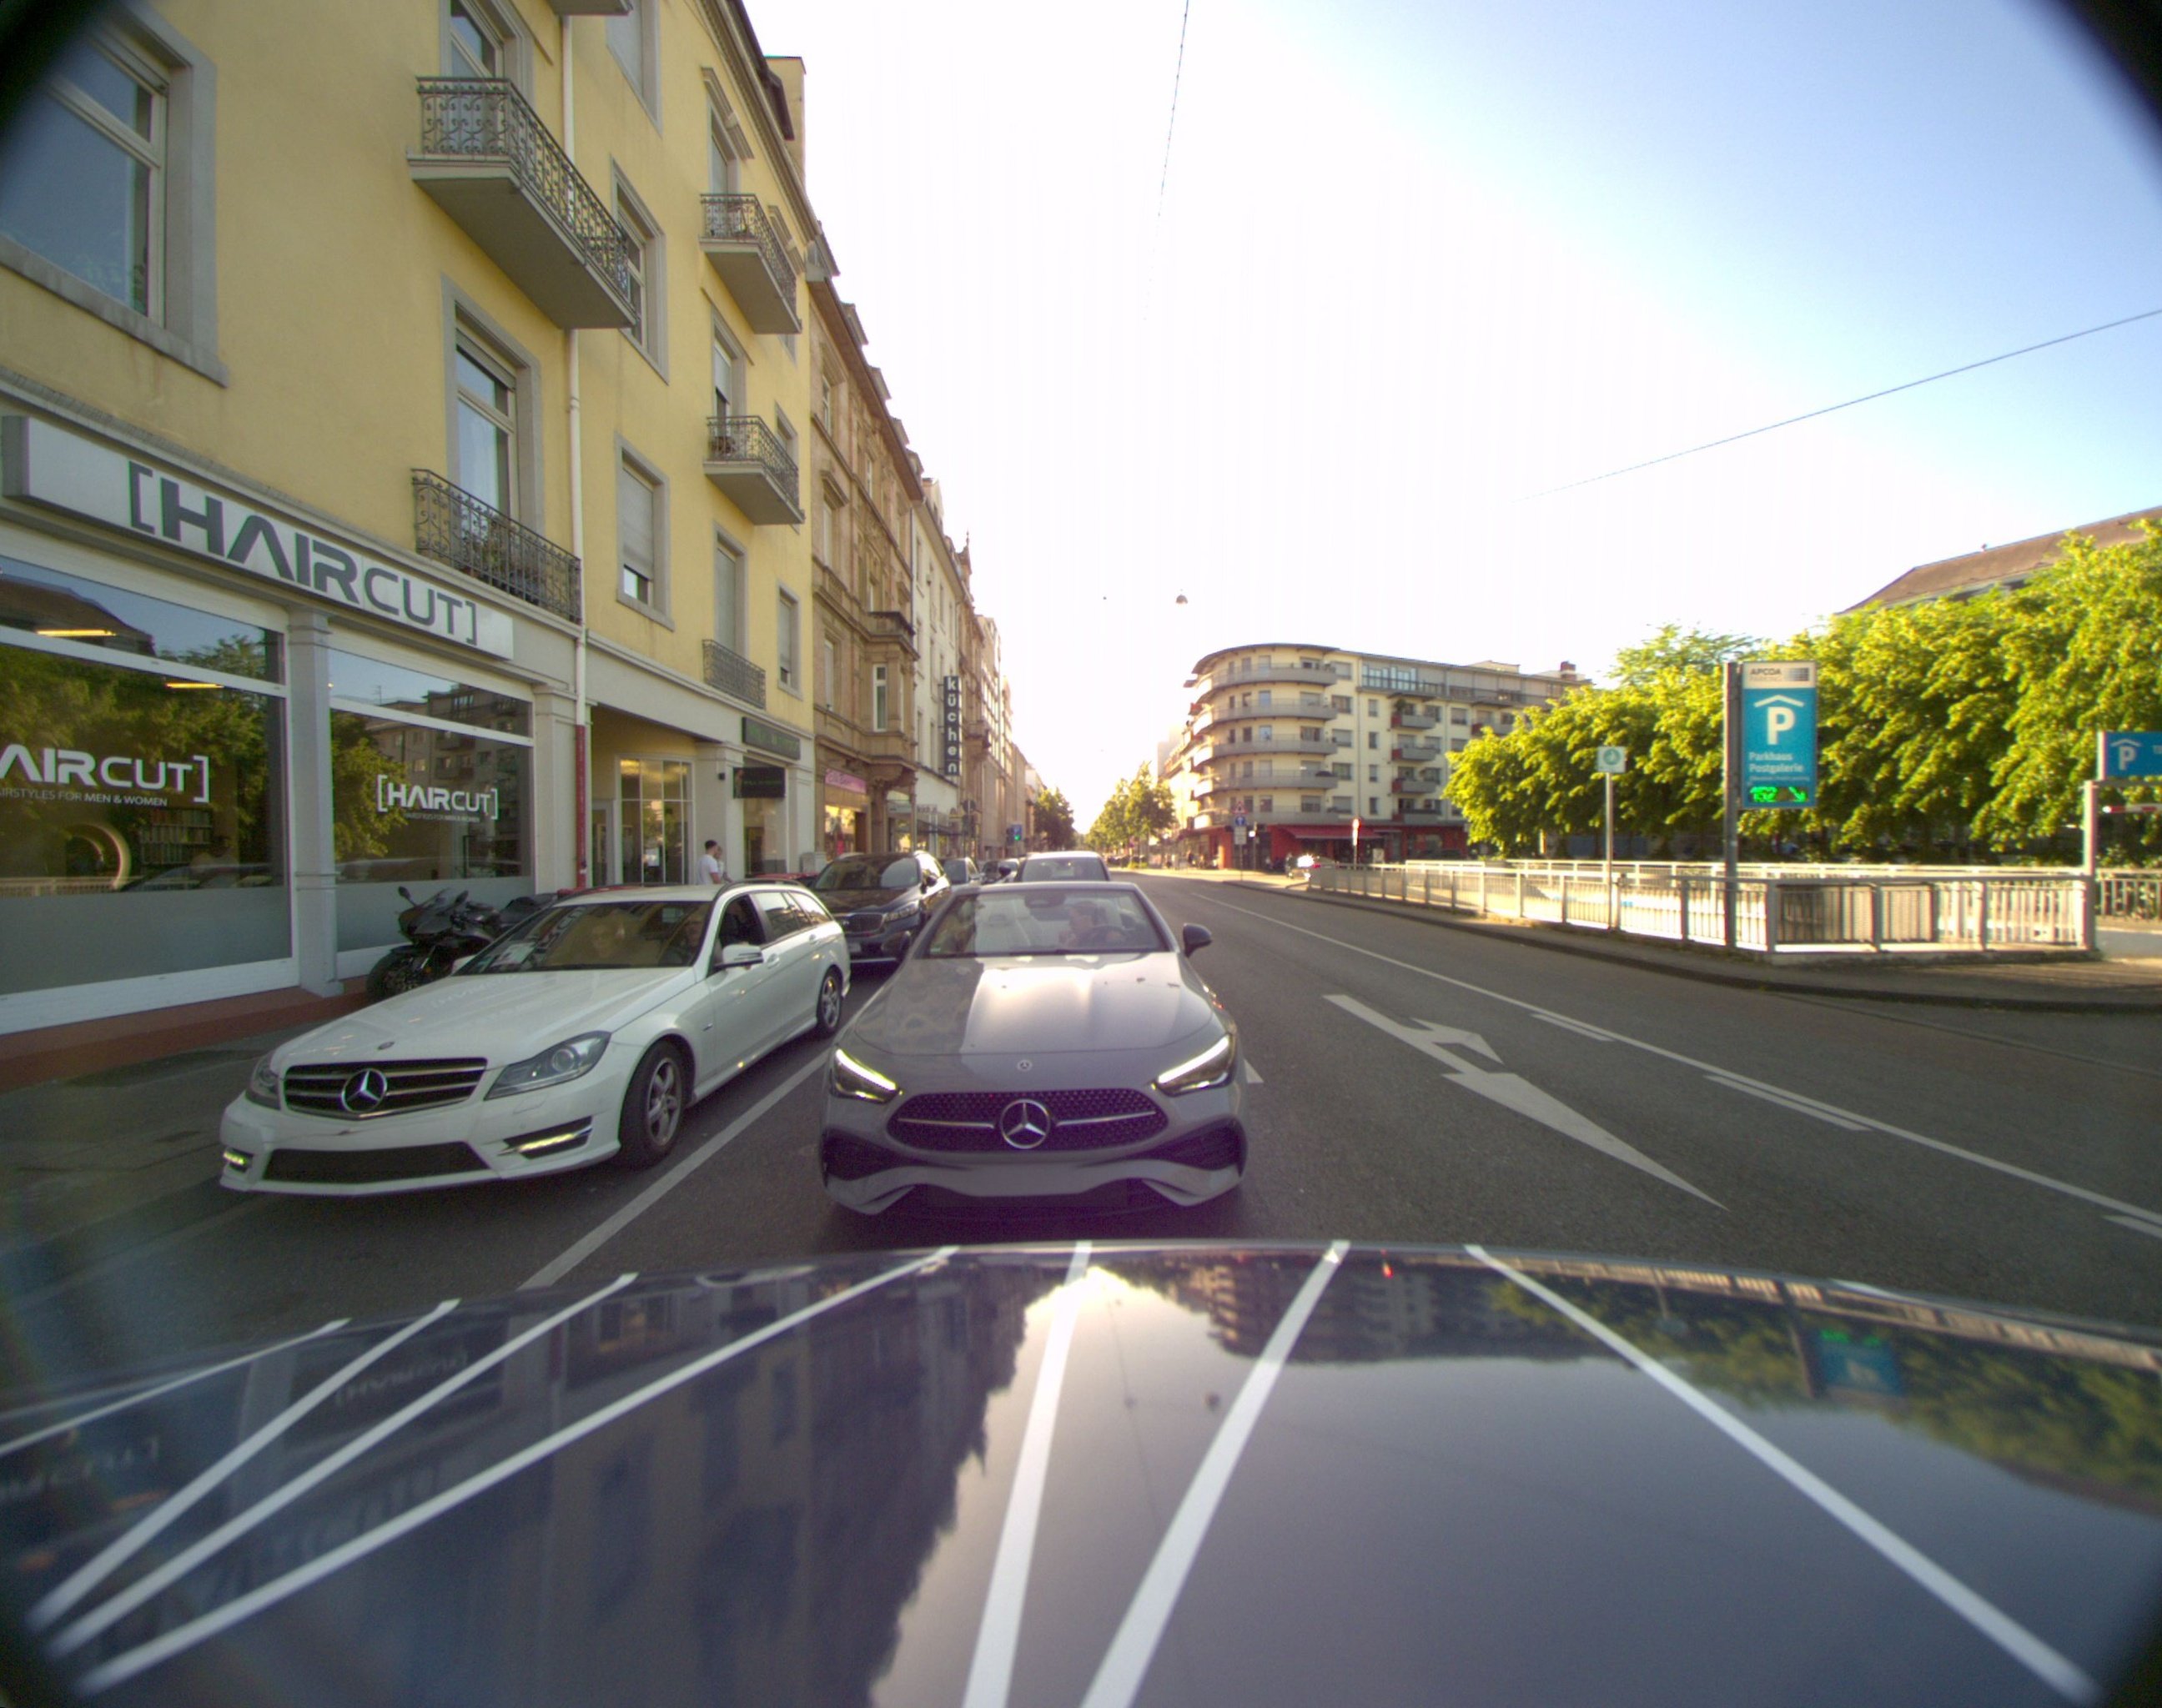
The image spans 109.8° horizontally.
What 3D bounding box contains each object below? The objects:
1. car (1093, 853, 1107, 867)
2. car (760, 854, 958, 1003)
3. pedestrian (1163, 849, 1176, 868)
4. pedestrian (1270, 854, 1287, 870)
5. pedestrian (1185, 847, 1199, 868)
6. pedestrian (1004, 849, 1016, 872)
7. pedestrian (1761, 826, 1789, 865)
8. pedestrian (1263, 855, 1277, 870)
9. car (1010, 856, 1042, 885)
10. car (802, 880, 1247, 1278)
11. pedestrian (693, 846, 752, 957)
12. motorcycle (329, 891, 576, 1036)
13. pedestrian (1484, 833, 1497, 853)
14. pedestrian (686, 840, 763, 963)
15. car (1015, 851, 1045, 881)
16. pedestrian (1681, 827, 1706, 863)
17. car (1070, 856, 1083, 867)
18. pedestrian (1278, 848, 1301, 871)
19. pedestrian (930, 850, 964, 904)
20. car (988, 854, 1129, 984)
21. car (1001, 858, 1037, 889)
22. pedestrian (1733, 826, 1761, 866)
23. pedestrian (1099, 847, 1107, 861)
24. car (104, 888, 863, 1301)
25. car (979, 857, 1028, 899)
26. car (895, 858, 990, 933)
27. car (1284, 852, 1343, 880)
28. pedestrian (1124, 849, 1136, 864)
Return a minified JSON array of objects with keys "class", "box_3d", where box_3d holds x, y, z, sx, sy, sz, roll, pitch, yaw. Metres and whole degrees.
[{"class":"car","box_3d":[2.732,0.853,110.994,1.836,1.831,3.886,1,1,-2]},{"class":"car","box_3d":[-3.011,0.890,11.332,1.806,1.680,4.408,-2,1,-3]},{"class":"pedestrian","box_3d":[8.282,0.397,71.190,1.068,1.709,1.081,-2,1,2]},{"class":"pedestrian","box_3d":[15.430,0.649,59.375,0.937,1.191,0.832,-3,1,-24]},{"class":"pedestrian","box_3d":[9.933,0.309,67.873,1.060,1.739,0.962,-2,1,1]},{"class":"pedestrian","box_3d":[-5.647,0.522,60.852,0.826,1.750,0.823,-2,1,-1]},{"class":"pedestrian","box_3d":[33.387,-0.429,36.563,0.748,1.832,0.683,-2,1,-13]},{"class":"pedestrian","box_3d":[14.924,0.662,60.033,0.780,1.191,0.884,-2,1,-10]},{"class":"car","box_3d":[-2.941,0.865,40.944,1.461,1.391,3.363,-2,1,-1]},{"class":"car","box_3d":[-0.280,0.997,5.352,1.769,1.360,4.471,-2,1,-2]},{"class":"pedestrian","box_3d":[-6.147,0.794,13.054,0.630,1.826,0.770,-2,1,-7]},{"class":"motorcycle","box_3d":[-6.268,1.023,7.783,0.735,1.124,2.109,2,1,1]},{"class":"pedestrian","box_3d":[38.364,-1.007,71.181,0.747,1.832,0.684,-2,1,1]},{"class":"pedestrian","box_3d":[-5.686,0.730,12.122,0.975,1.866,0.534,-3,1,-31]},{"class":"car","box_3d":[-3.151,0.715,47.541,1.695,1.670,3.880,-2,1,-3]},{"class":"pedestrian","box_3d":[31.874,-0.469,39.526,0.748,1.832,0.683,-3,1,-21]},{"class":"car","box_3d":[-0.659,1.076,111.927,1.695,1.437,3.575,-2,1,-2]},{"class":"pedestrian","box_3d":[15.771,0.432,57.527,1.269,1.656,1.142,-1,1,44]},{"class":"pedestrian","box_3d":[-4.424,0.741,25.054,0.821,1.709,0.835,-3,1,-27]},{"class":"car","box_3d":[-0.363,0.893,12.752,1.866,1.658,4.706,-2,1,-2]},{"class":"car","box_3d":[-2.953,0.899,36.675,1.461,1.310,3.363,-2,1,-1]},{"class":"pedestrian","box_3d":[32.120,-0.392,36.655,0.748,1.852,0.683,-2,1,-13]},{"class":"pedestrian","box_3d":[3.654,0.054,127.200,1.117,2.328,1.028,-2,1,-1]},{"class":"car","box_3d":[-3.024,1.072,5.241,1.672,1.364,4.377,-2,1,1]},{"class":"car","box_3d":[-3.025,0.902,30.306,1.695,1.482,3.796,-2,1,-3]},{"class":"car","box_3d":[-3.180,0.905,17.983,1.583,1.514,2.998,-2,1,1]},{"class":"car","box_3d":[14.220,0.679,46.727,1.677,1.521,4.245,3,0,-9]},{"class":"pedestrian","box_3d":[6.156,0.261,95.153,1.201,1.826,1.223,-2,1,13]}]
